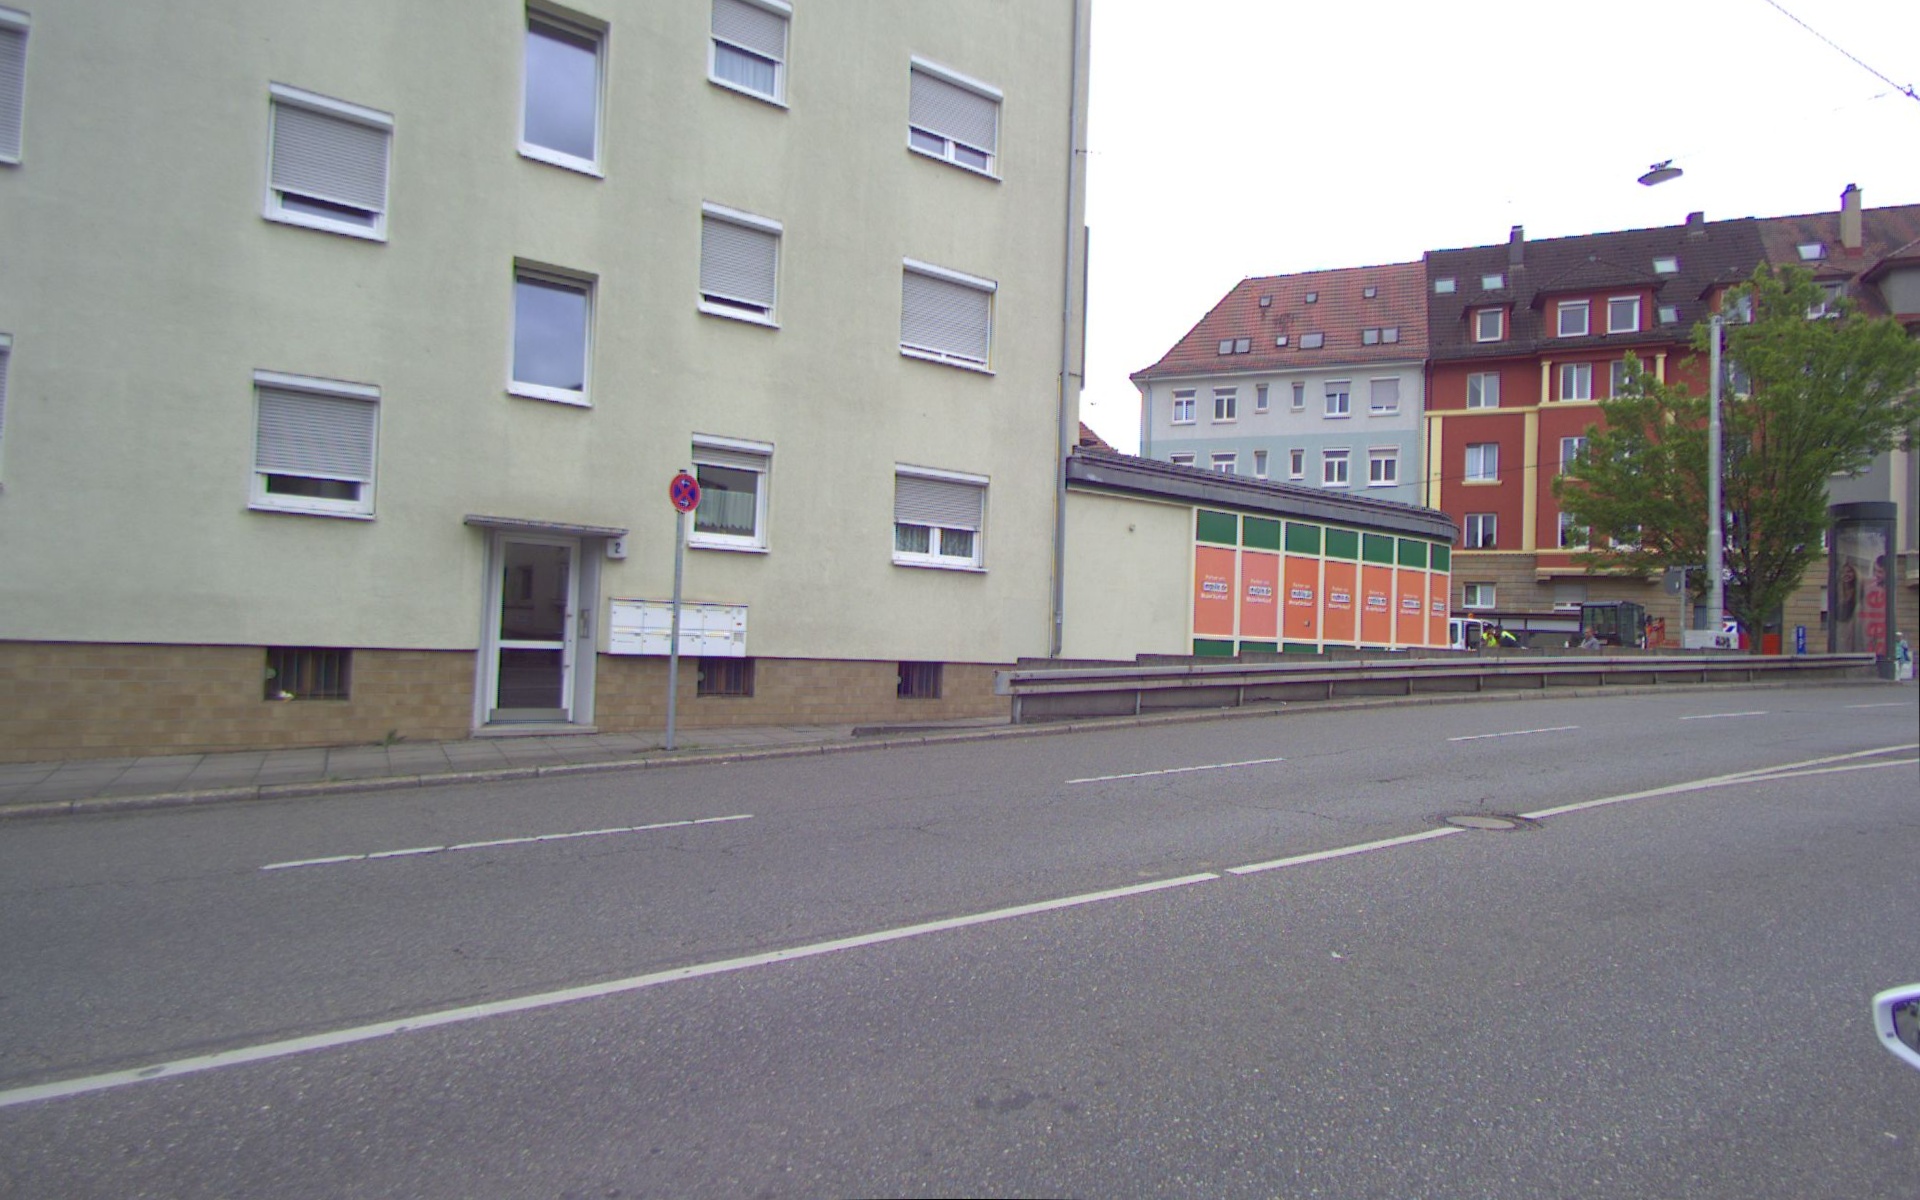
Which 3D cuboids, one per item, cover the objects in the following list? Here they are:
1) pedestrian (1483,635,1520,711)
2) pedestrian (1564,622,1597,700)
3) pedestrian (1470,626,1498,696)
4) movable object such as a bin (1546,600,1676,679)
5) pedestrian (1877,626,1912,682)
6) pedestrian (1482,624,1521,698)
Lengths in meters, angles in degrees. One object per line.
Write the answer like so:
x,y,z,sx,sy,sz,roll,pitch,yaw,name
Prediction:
12.738,1.696,23.641,0.539,1.722,0.557,1,1,-41,pedestrian
14.443,1.410,23.399,0.533,1.753,0.593,3,1,26,pedestrian
13.536,1.563,25.942,0.467,1.753,0.543,2,1,14,pedestrian
16.769,0.980,25.811,3.972,1.795,1.884,1,1,-43,movable object such as a bin
27.381,1.582,29.438,0.480,1.588,0.586,1,1,-30,pedestrian
13.415,1.502,24.896,0.605,1.785,0.573,2,1,5,pedestrian
